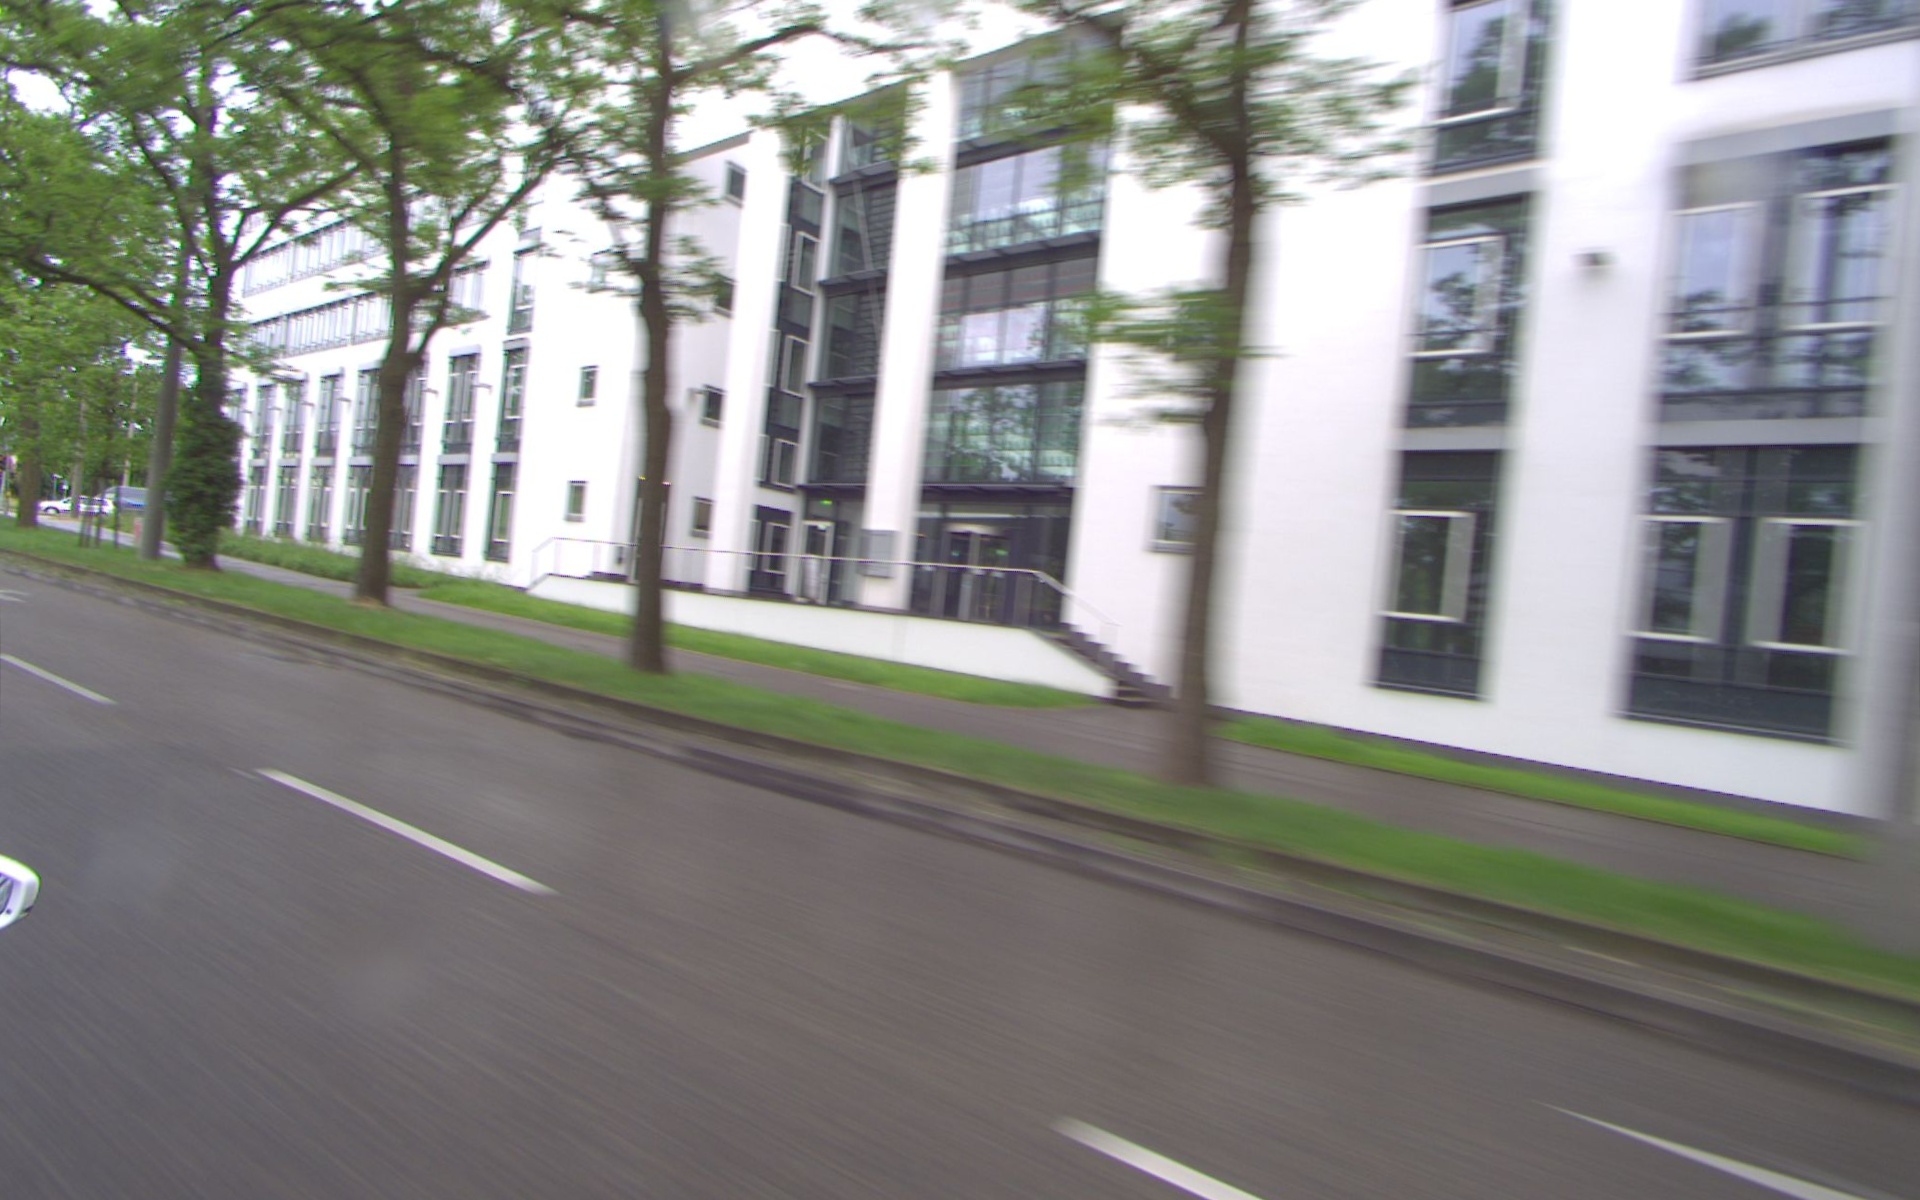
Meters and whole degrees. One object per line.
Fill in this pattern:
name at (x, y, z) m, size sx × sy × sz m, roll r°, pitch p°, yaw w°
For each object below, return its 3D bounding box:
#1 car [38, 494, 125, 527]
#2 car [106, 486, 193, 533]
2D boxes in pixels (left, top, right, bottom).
car at (-57.329, -5.821, 65.726) m, size 3.962 × 1.556 × 1.981 m, roll 6°, pitch 1°, yaw -35°
car at (-56.031, -6.197, 69.669) m, size 4.206 × 2.596 × 1.986 m, roll 6°, pitch 1°, yaw -28°
